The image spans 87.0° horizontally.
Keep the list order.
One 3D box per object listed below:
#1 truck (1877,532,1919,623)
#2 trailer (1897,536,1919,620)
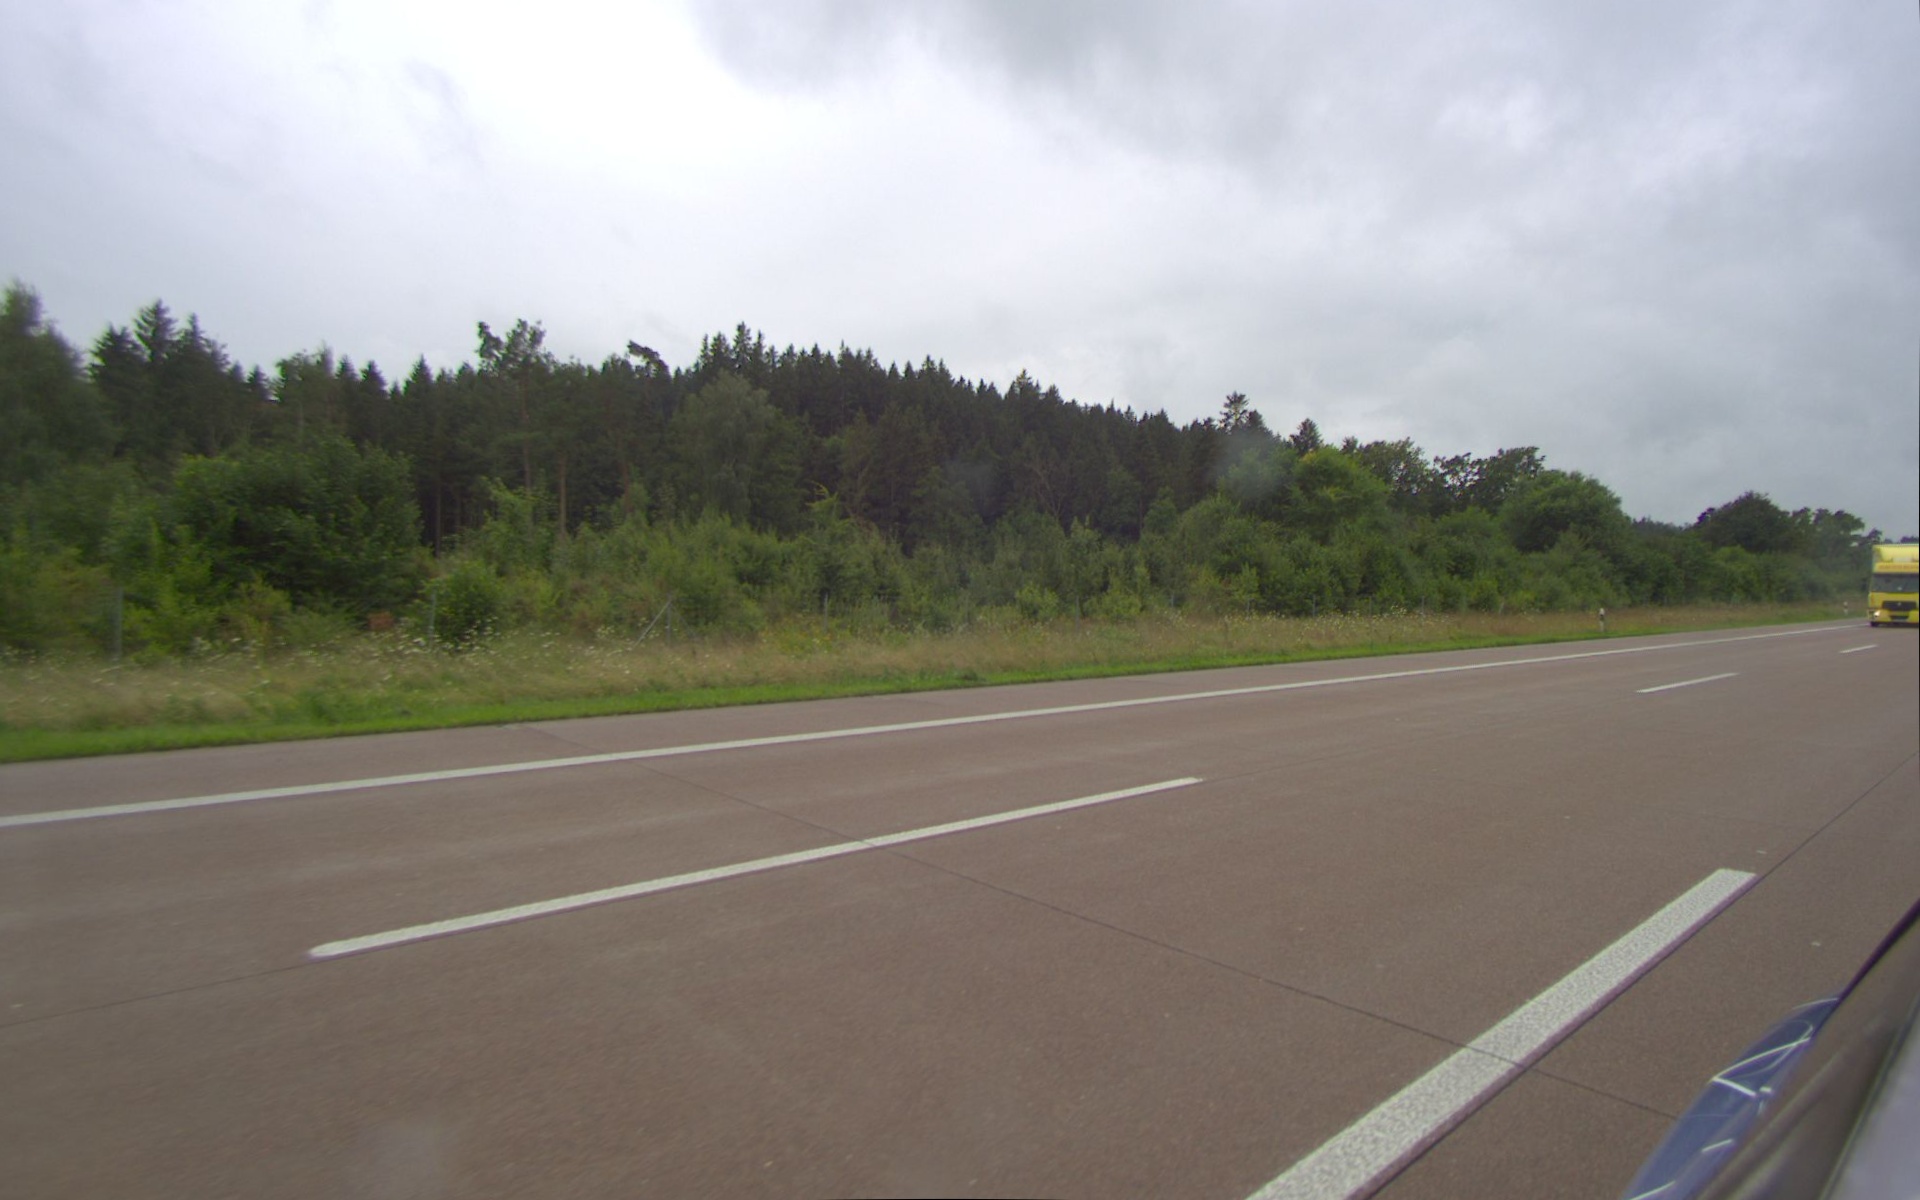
[{"bbox_3d":[47.541,-1.123,49.839,6.139,4.267,2.609,-1,1,-39],"label":"truck"},{"bbox_3d":[54.372,-1.272,55.453,13.829,4.281,2.571,-1,1,-39],"label":"trailer"}]
